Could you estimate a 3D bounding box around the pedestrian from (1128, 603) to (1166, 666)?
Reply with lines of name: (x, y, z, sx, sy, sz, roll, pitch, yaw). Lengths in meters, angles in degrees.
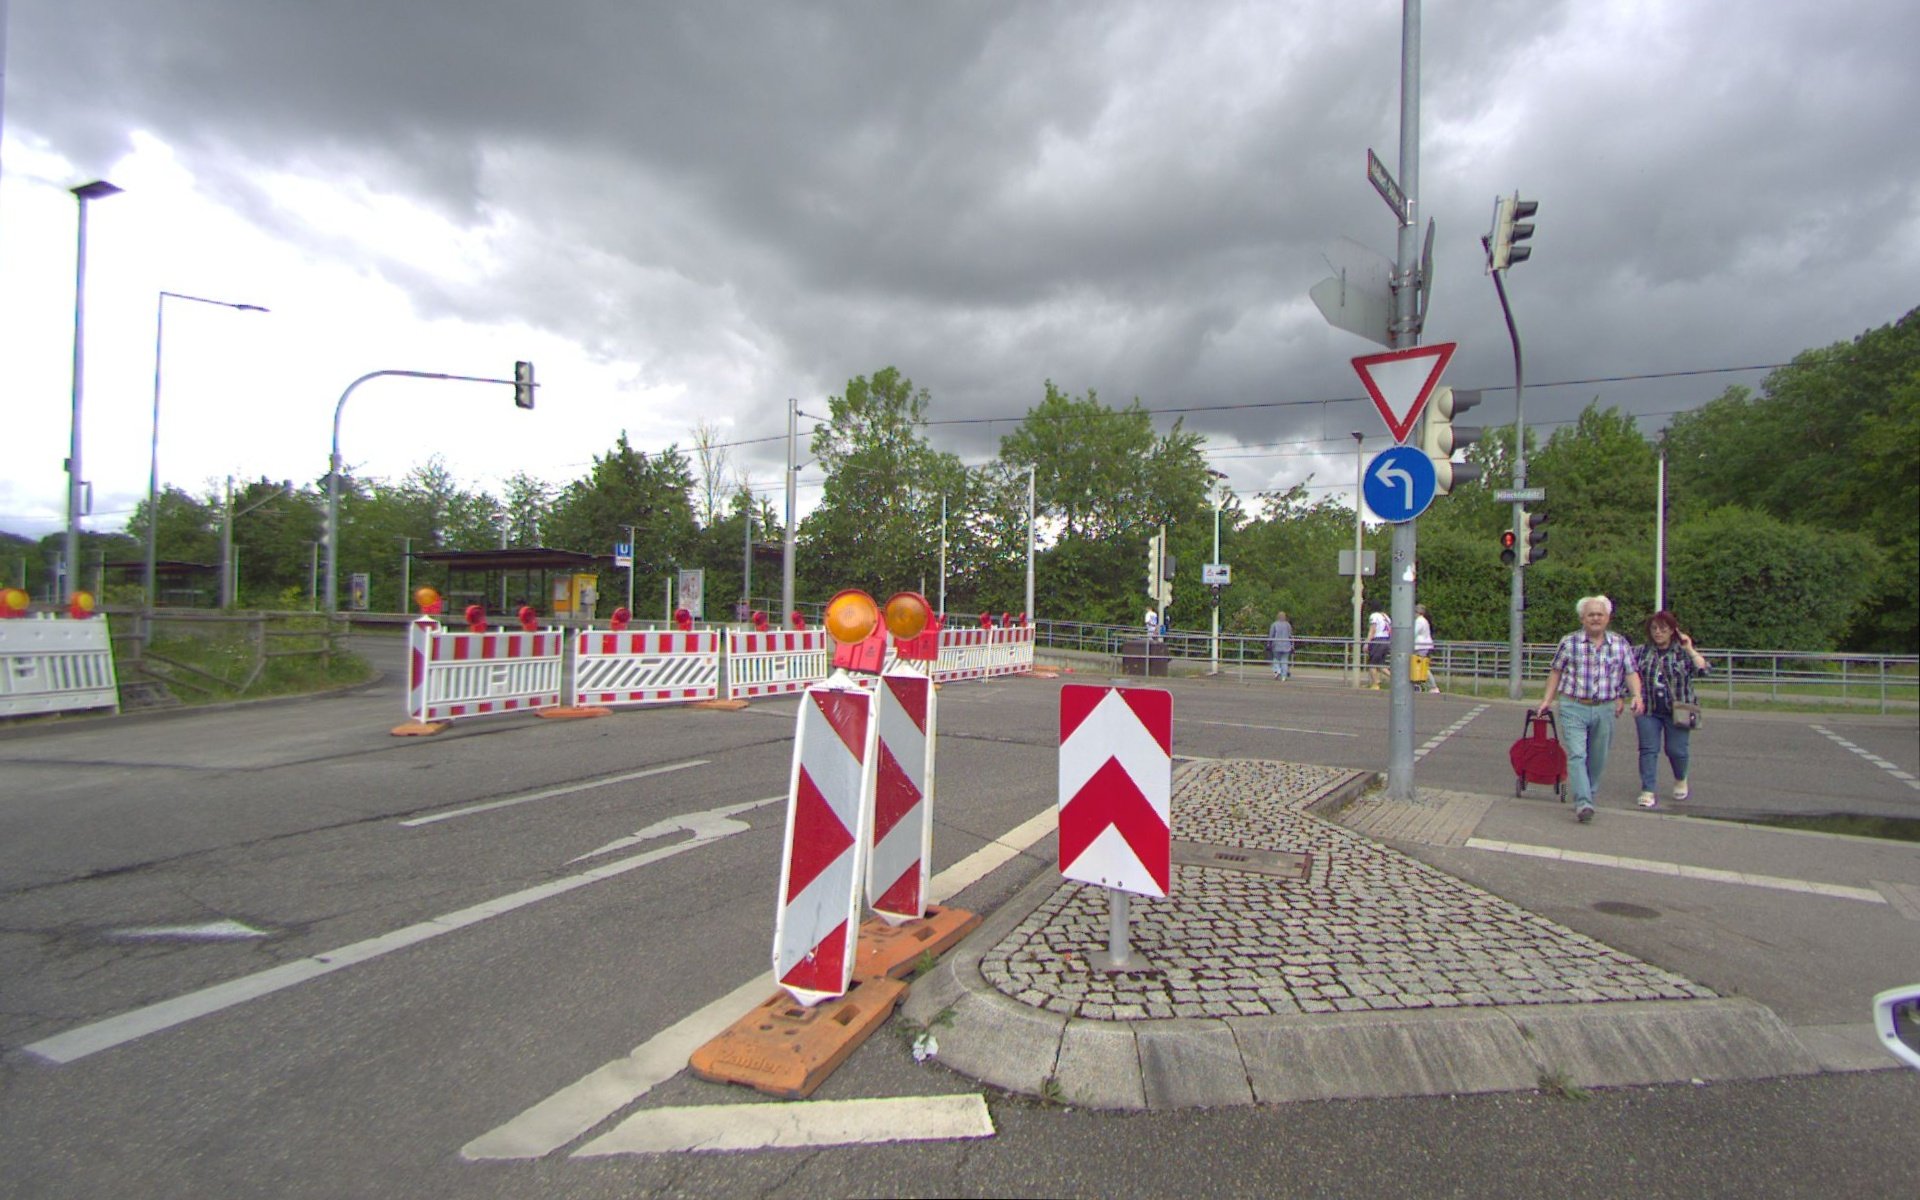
pedestrian: (5.429, 0.995, 29.204, 0.711, 1.771, 0.954, 1, 0, -16)

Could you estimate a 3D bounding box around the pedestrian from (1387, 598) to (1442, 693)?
pedestrian: (8.777, 0.862, 19.392, 0.712, 1.771, 0.953, 1, 0, 40)

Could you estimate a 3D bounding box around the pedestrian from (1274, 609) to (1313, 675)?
pedestrian: (8.452, 1.052, 25.431, 0.710, 1.643, 0.803, 1, 0, 35)

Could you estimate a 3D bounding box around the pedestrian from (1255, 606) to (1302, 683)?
pedestrian: (7.560, 1.032, 23.810, 0.939, 1.771, 0.722, 1, 0, 25)

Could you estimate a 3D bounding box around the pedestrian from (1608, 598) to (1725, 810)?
pedestrian: (5.665, 0.795, 8.092, 0.680, 1.588, 0.731, 1, 0, 30)

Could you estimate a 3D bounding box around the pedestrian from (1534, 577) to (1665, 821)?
pedestrian: (4.627, 0.706, 7.320, 0.686, 1.654, 0.722, -1, -5, 26)

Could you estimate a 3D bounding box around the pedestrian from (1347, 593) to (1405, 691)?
pedestrian: (7.830, 0.773, 18.897, 0.712, 1.771, 0.953, 1, 0, 40)
